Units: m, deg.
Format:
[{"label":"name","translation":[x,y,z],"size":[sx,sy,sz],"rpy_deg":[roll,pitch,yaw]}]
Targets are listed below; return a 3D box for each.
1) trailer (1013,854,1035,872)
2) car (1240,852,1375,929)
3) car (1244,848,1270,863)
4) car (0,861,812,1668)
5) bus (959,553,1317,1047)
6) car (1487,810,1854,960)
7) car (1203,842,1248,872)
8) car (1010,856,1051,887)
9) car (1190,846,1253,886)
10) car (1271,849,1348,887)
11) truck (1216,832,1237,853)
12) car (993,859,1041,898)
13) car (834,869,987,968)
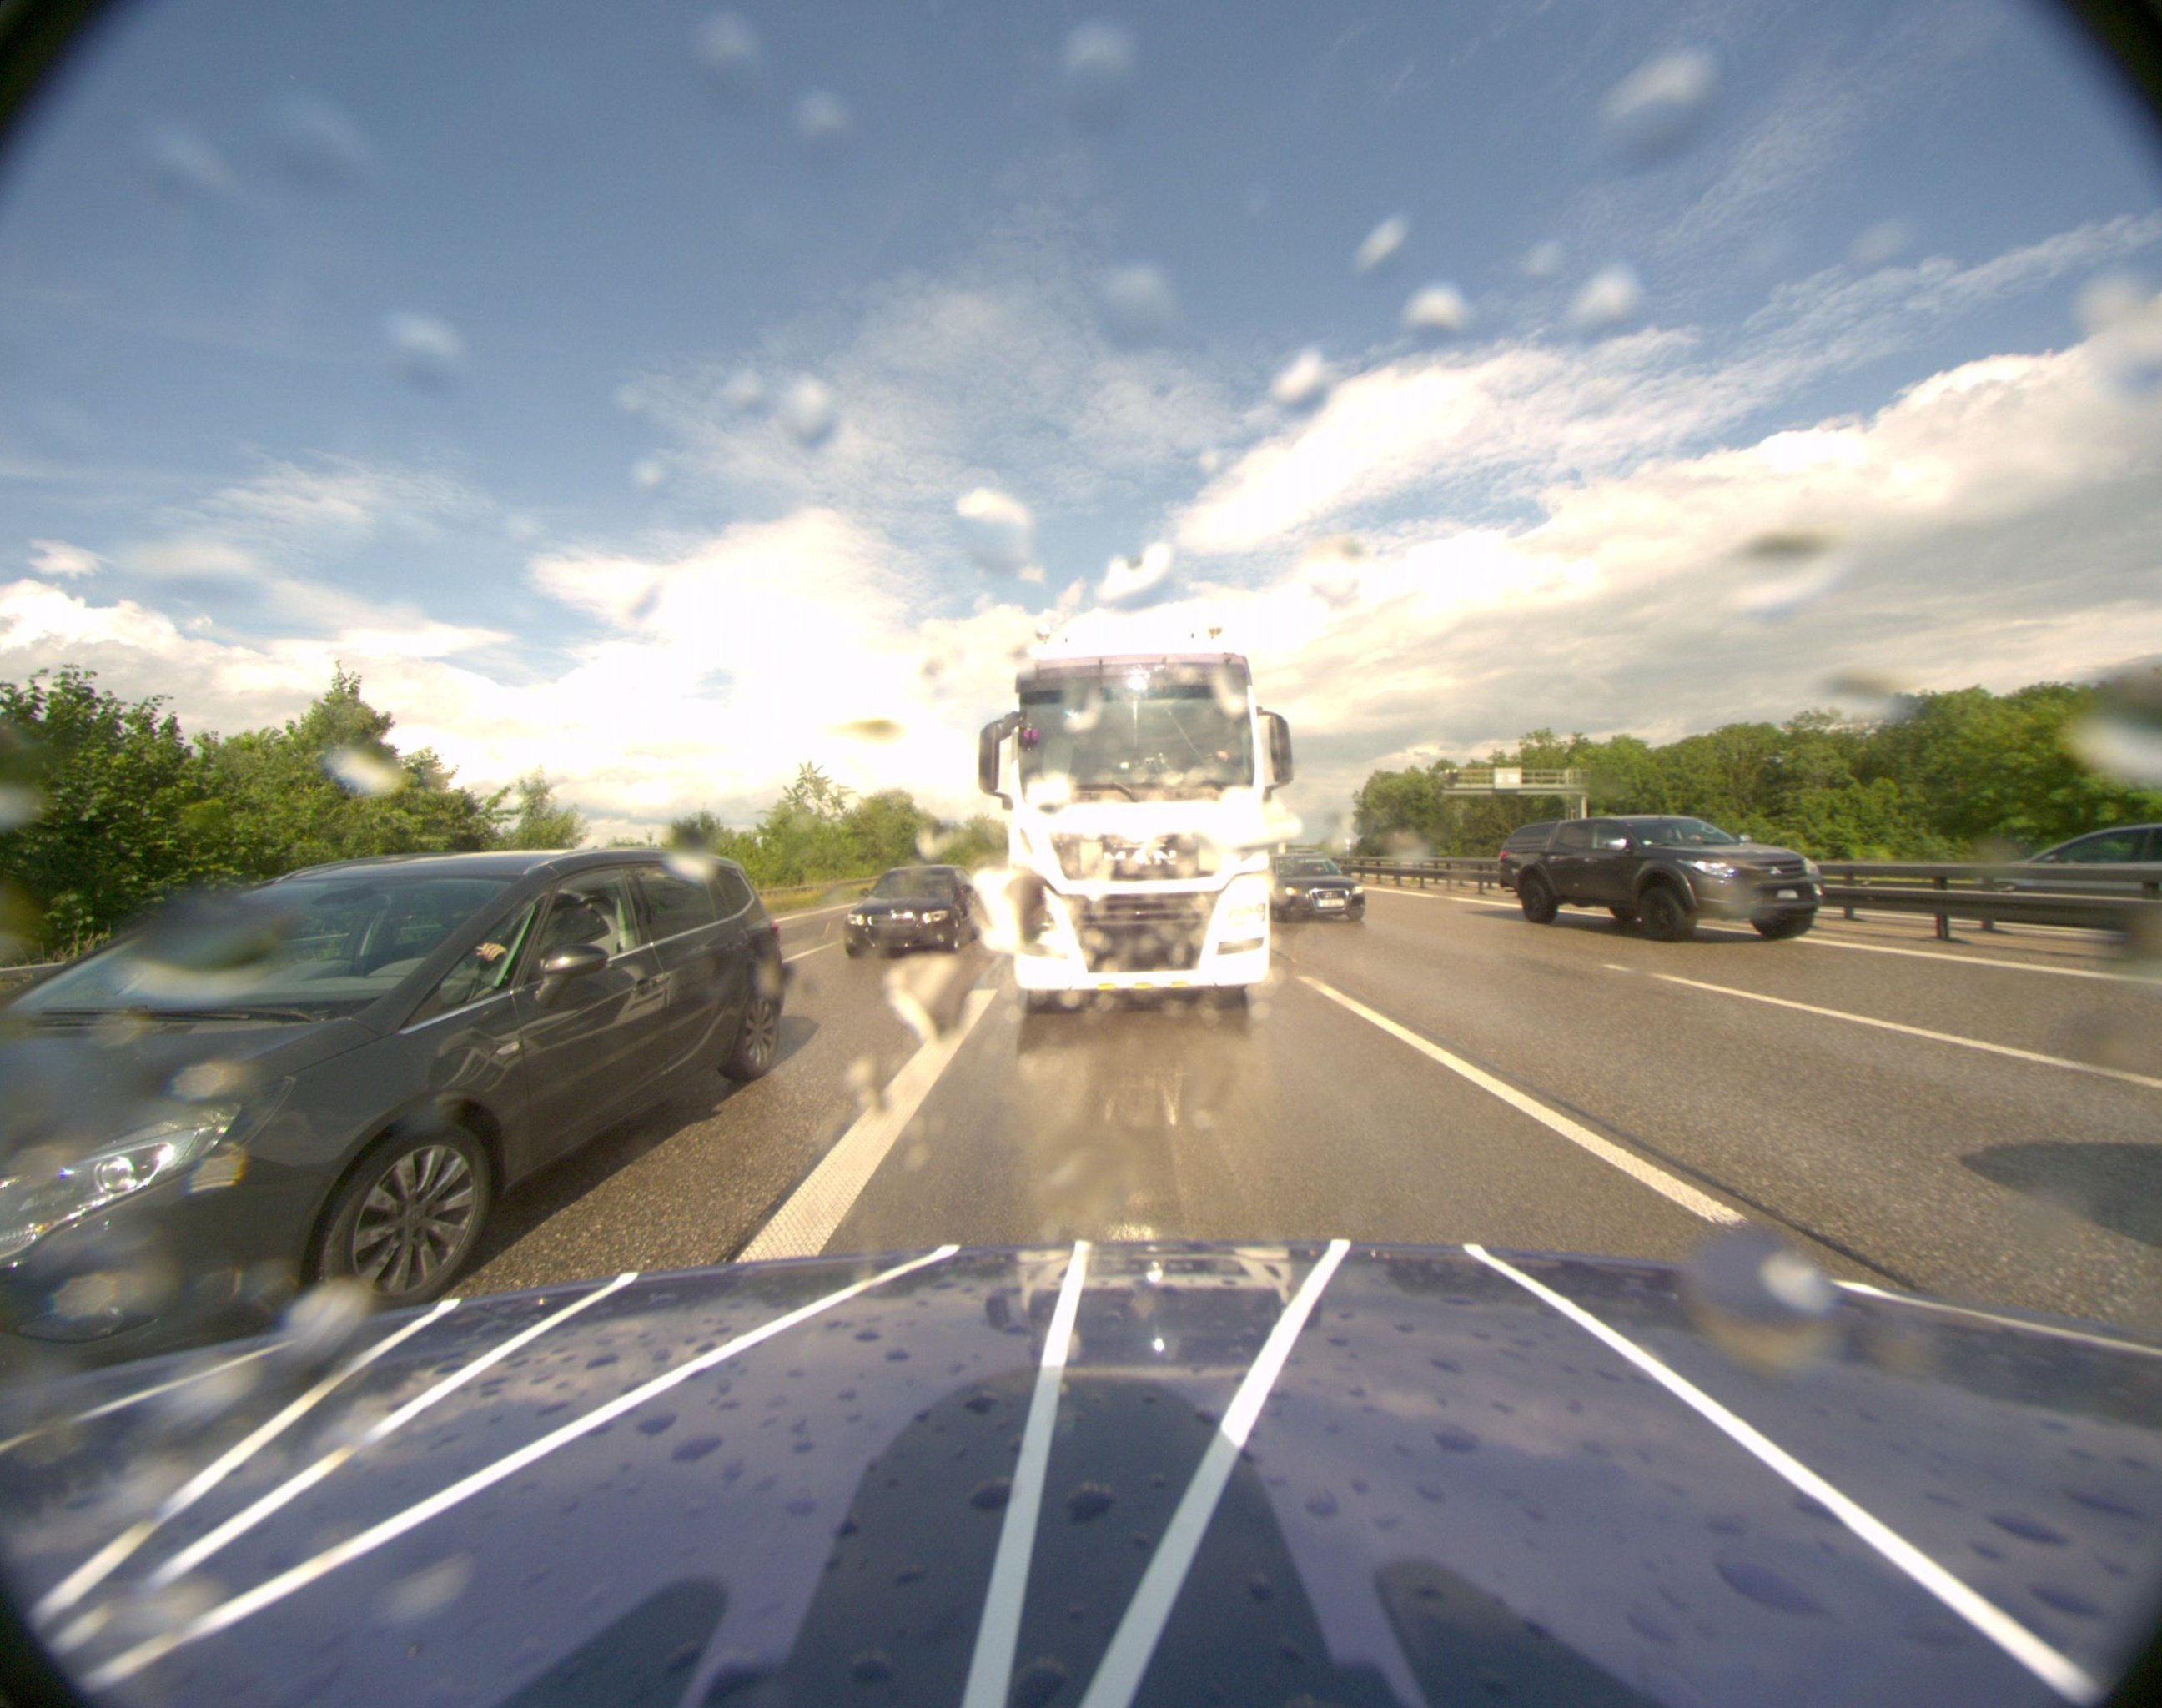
[{"label":"trailer","translation":[-6.197,0.937,82.483],"size":[1.810,1.736,3.968],"rpy_deg":[-3,1,3]},{"label":"car","translation":[4.790,0.694,16.658],"size":[1.754,1.425,4.054],"rpy_deg":[-2,0,1]},{"label":"car","translation":[17.747,0.132,76.874],"size":[1.707,1.508,4.000],"rpy_deg":[-2,0,1]},{"label":"car","translation":[-3.178,0.912,3.796],"size":[1.858,1.622,4.735],"rpy_deg":[-2,0,1]},{"label":"bus","translation":[0.549,-0.476,11.412],"size":[2.904,4.104,9.844],"rpy_deg":[-2,0,1]},{"label":"car","translation":[8.915,0.380,12.335],"size":[1.811,1.833,5.418],"rpy_deg":[-2,0,1]},{"label":"car","translation":[9.788,0.164,51.725],"size":[1.998,1.906,5.235],"rpy_deg":[-2,1,0]},{"label":"car","translation":[-2.514,0.860,38.817],"size":[1.858,1.434,3.999],"rpy_deg":[-2,1,-1]},{"label":"car","translation":[6.319,0.491,34.628],"size":[1.881,1.669,4.625],"rpy_deg":[-2,0,-1]},{"label":"car","translation":[9.500,0.526,31.930],"size":[1.925,1.416,4.372],"rpy_deg":[-2,1,1]},{"label":"truck","translation":[28.388,-2.244,148.362],"size":[2.799,3.861,8.919],"rpy_deg":[-2,0,3]},{"label":"car","translation":[-2.536,0.937,30.814],"size":[1.744,1.357,3.998],"rpy_deg":[-2,0,-3]},{"label":"car","translation":[-2.800,1.004,13.331],"size":[1.722,1.346,3.884],"rpy_deg":[-2,0,1]}]
